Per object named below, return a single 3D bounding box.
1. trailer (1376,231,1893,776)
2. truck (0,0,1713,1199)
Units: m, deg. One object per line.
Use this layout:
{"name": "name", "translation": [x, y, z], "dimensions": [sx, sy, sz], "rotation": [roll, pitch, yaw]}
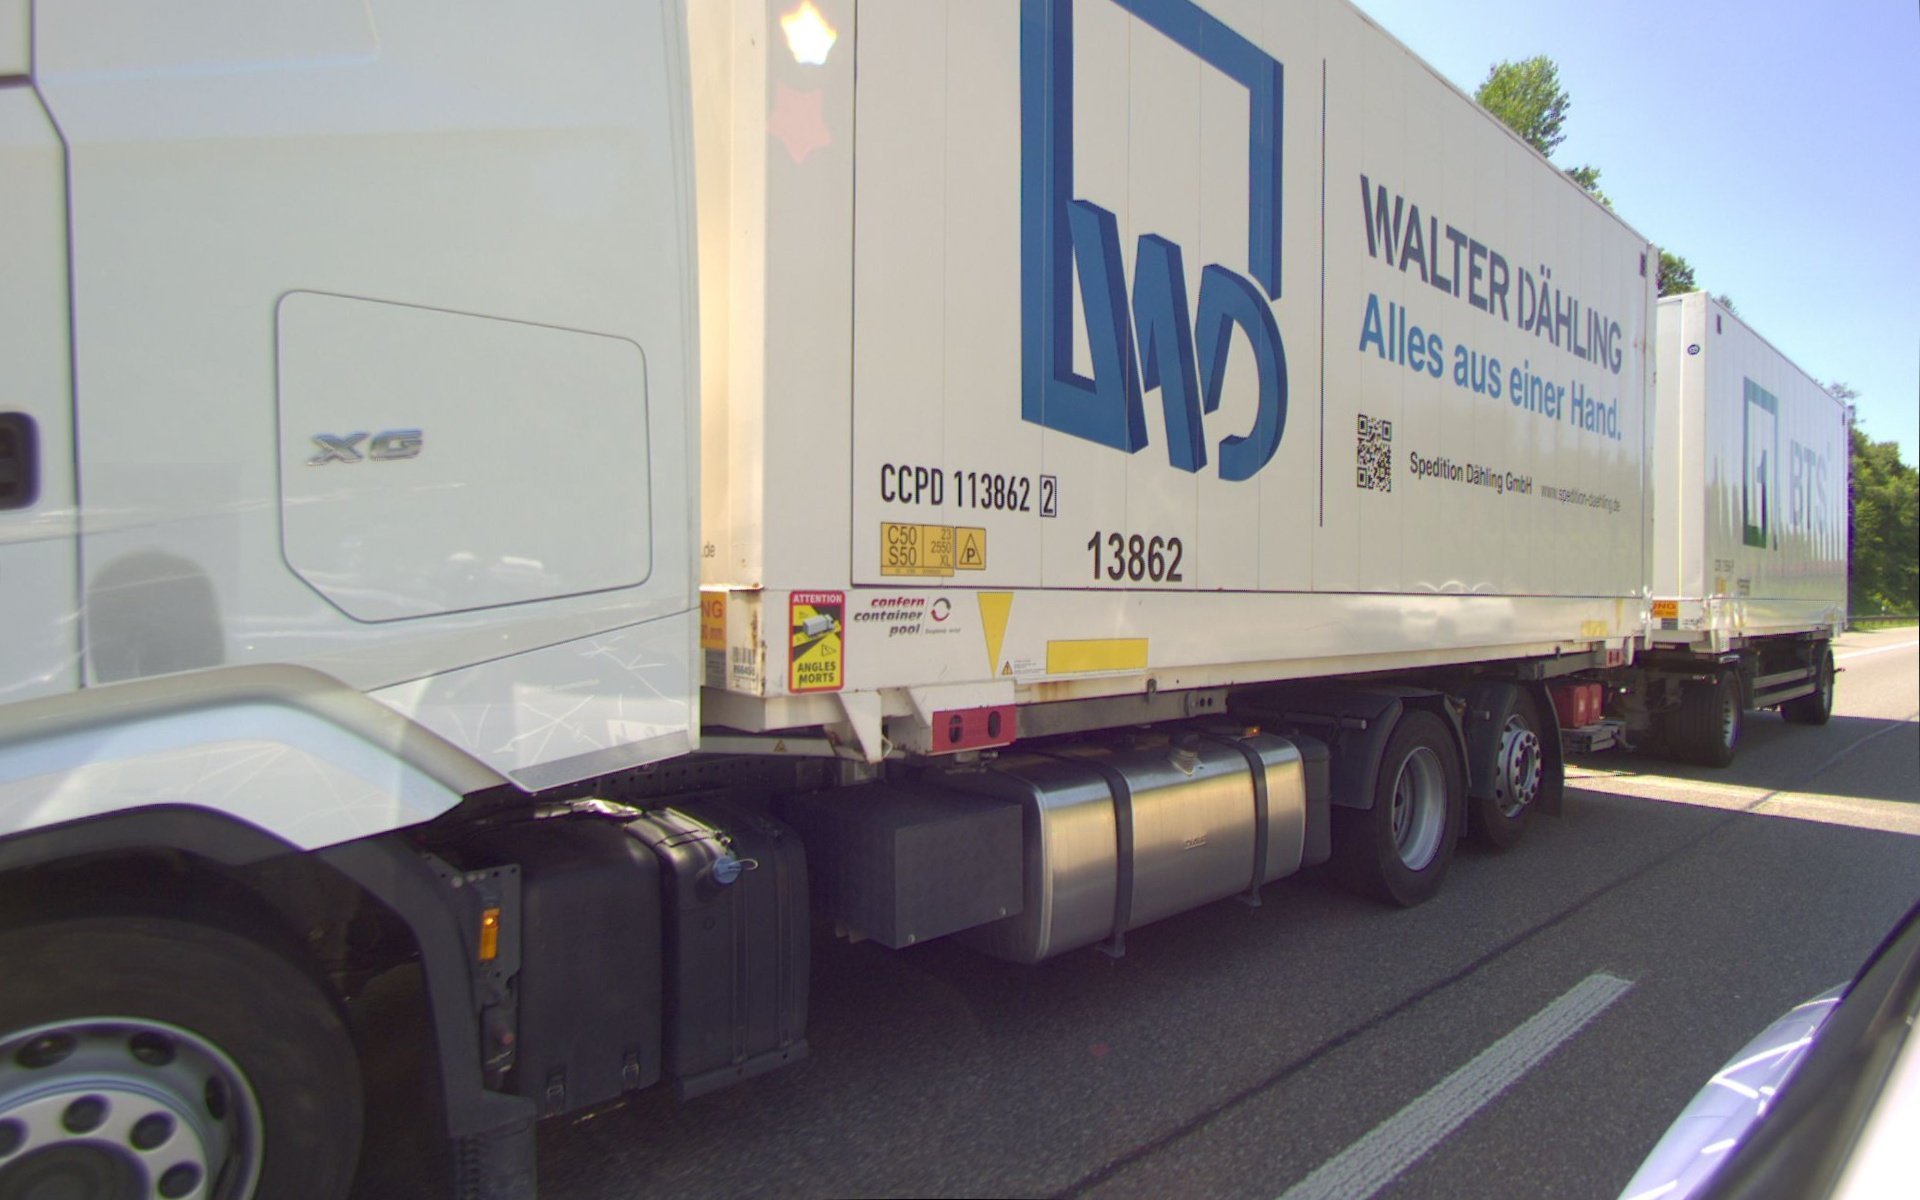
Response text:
{"name": "trailer", "translation": [8.675, -0.682, 12.142], "dimensions": [9.889, 4.229, 2.684], "rotation": [2, -1, -41]}
{"name": "truck", "translation": [0.899, -0.763, 5.315], "dimensions": [10.437, 4.111, 2.685], "rotation": [2, -1, -41]}
